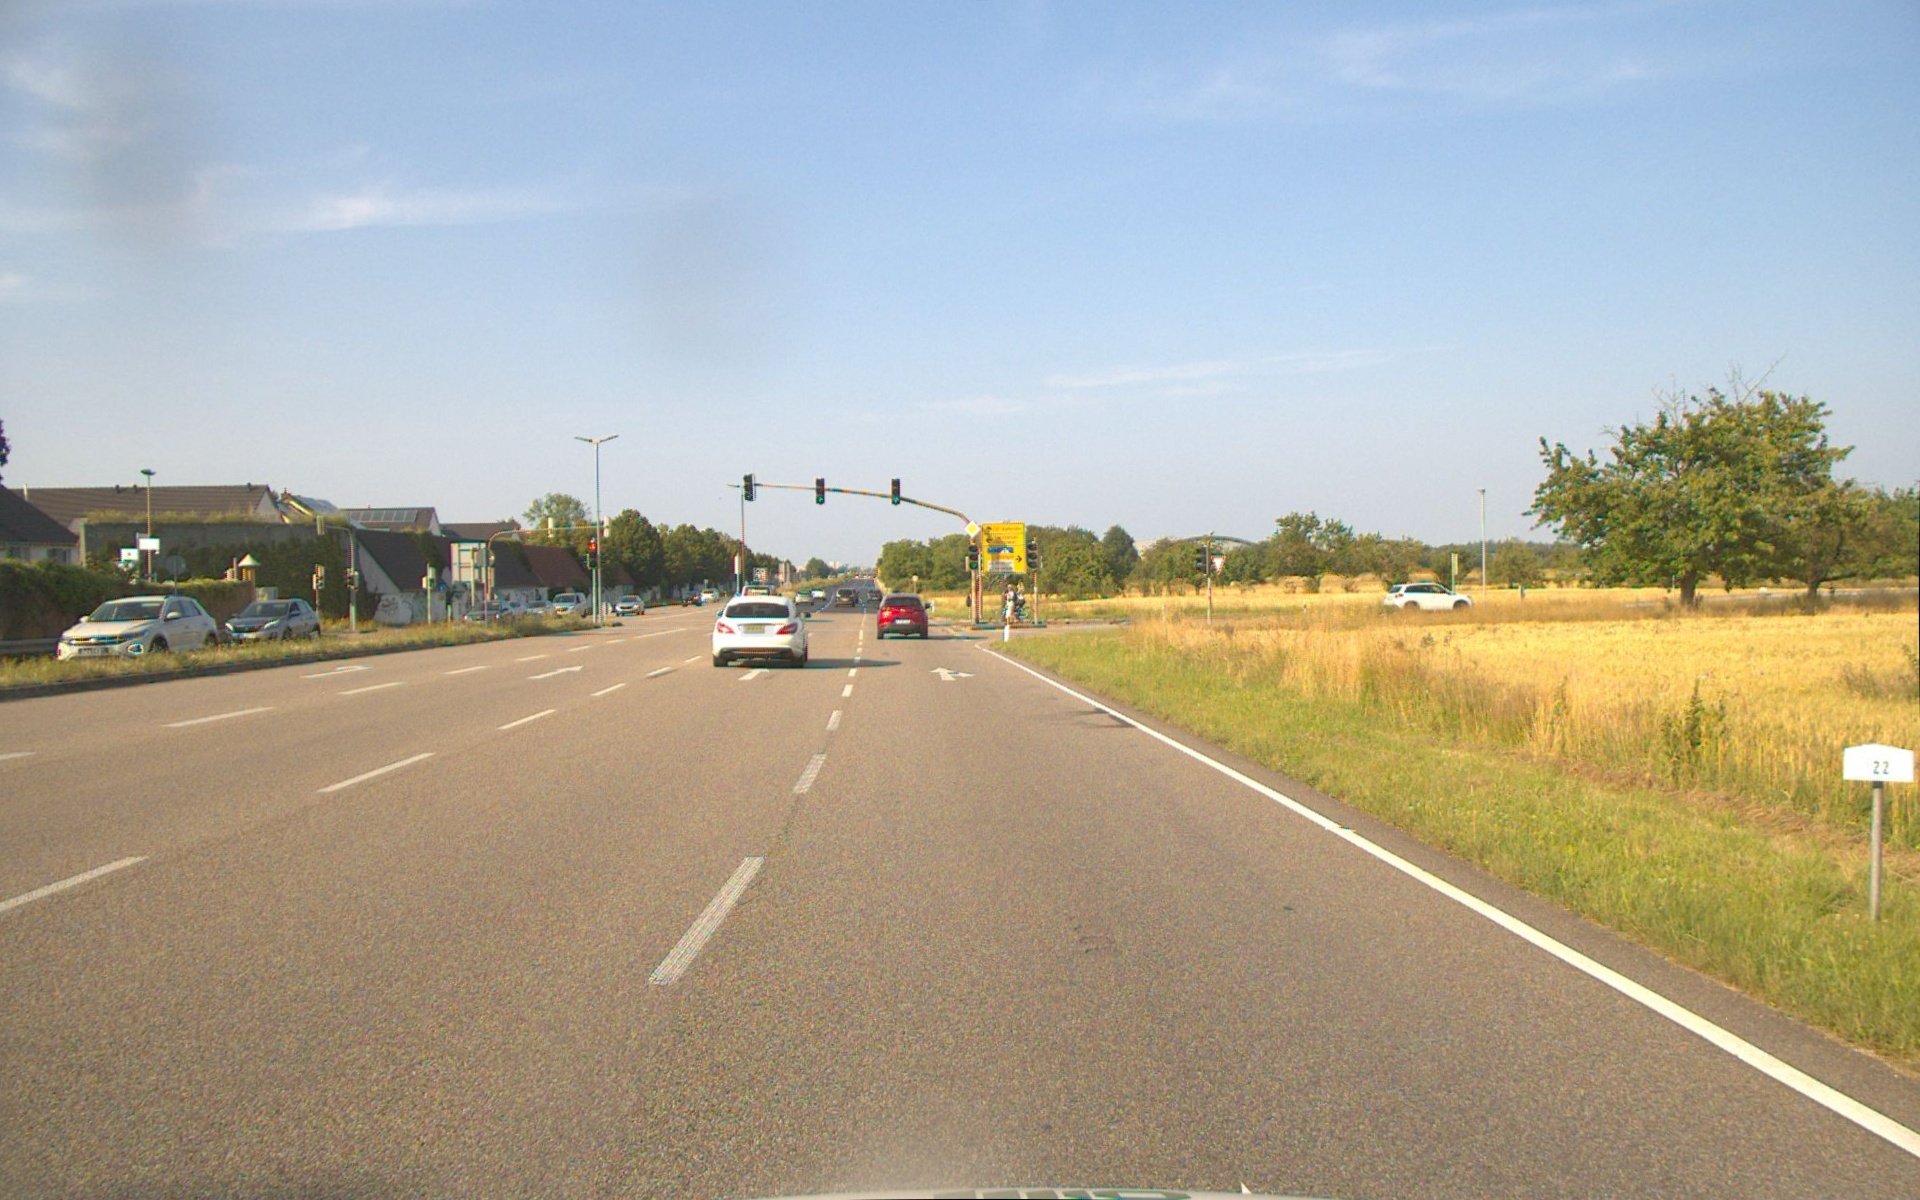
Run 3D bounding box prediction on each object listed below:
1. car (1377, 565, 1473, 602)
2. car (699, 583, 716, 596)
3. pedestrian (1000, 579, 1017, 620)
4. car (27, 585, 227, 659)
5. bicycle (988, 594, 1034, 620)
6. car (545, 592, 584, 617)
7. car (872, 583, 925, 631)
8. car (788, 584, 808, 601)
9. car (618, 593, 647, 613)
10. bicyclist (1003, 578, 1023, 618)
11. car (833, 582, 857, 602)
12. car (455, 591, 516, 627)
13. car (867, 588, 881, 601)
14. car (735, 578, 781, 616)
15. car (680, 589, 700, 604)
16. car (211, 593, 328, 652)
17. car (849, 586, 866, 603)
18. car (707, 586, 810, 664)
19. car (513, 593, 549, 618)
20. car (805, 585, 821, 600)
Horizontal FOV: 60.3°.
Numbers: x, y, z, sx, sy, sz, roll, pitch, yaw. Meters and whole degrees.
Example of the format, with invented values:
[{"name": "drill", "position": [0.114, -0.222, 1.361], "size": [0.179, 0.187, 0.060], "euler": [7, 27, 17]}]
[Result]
[{"name": "car", "position": [21.690, -0.763, 77.283], "size": [3.909, 1.626, 1.859], "euler": [1, 0, -6]}, {"name": "car", "position": [-30.842, -1.261, 202.271], "size": [1.700, 1.601, 3.701], "euler": [1, 1, -3]}, {"name": "pedestrian", "position": [2.111, -0.021, 72.500], "size": [0.696, 1.782, 0.862], "euler": [1, 0, -1]}, {"name": "car", "position": [-16.548, 0.394, 33.133], "size": [1.836, 1.344, 4.711], "euler": [1, 1, -3]}, {"name": "bicycle", "position": [2.294, 0.315, 74.299], "size": [2.053, 1.108, 0.808], "euler": [1, 0, 0]}, {"name": "car", "position": [-28.761, 0.300, 120.418], "size": [1.957, 1.716, 4.572], "euler": [1, 1, -4]}, {"name": "car", "position": [-2.123, 0.207, 56.750], "size": [1.719, 1.543, 3.998], "euler": [-1, 1, -2]}, {"name": "car", "position": [-15.181, -0.697, 155.228], "size": [1.683, 1.518, 3.583], "euler": [1, 1, -2]}, {"name": "car", "position": [-24.890, 0.219, 125.766], "size": [1.749, 1.462, 4.351], "euler": [1, 1, -6]}, {"name": "bicyclist", "position": [2.386, -0.099, 74.282], "size": [0.831, 1.786, 0.798], "euler": [1, 0, -2]}, {"name": "car", "position": [-10.220, -0.750, 147.300], "size": [1.802, 1.713, 4.000], "euler": [1, 1, -1]}, {"name": "car", "position": [-22.956, 0.417, 80.148], "size": [1.688, 1.657, 4.656], "euler": [1, 1, -2]}, {"name": "car", "position": [-9.101, -0.563, 175.954], "size": [1.410, 1.306, 2.913], "euler": [1, 1, -2]}, {"name": "car", "position": [-10.759, -0.205, 88.385], "size": [1.984, 1.924, 4.957], "euler": [1, 1, -2]}, {"name": "car", "position": [-28.988, -0.377, 177.559], "size": [1.955, 1.523, 3.995], "euler": [1, 1, -6]}, {"name": "car", "position": [-21.251, 0.660, 51.132], "size": [1.937, 1.694, 4.586], "euler": [1, 1, -4]}, {"name": "car", "position": [-10.511, -0.579, 169.212], "size": [1.677, 1.766, 3.865], "euler": [1, 1, -4]}, {"name": "car", "position": [-4.148, 0.473, 34.528], "size": [1.857, 1.535, 3.998], "euler": [0, 1, -3]}, {"name": "car", "position": [-29.214, 0.370, 112.687], "size": [1.853, 1.646, 3.851], "euler": [1, 1, -6]}, {"name": "car", "position": [-16.782, -0.892, 188.695], "size": [1.742, 1.694, 3.658], "euler": [1, 1, -6]}]
